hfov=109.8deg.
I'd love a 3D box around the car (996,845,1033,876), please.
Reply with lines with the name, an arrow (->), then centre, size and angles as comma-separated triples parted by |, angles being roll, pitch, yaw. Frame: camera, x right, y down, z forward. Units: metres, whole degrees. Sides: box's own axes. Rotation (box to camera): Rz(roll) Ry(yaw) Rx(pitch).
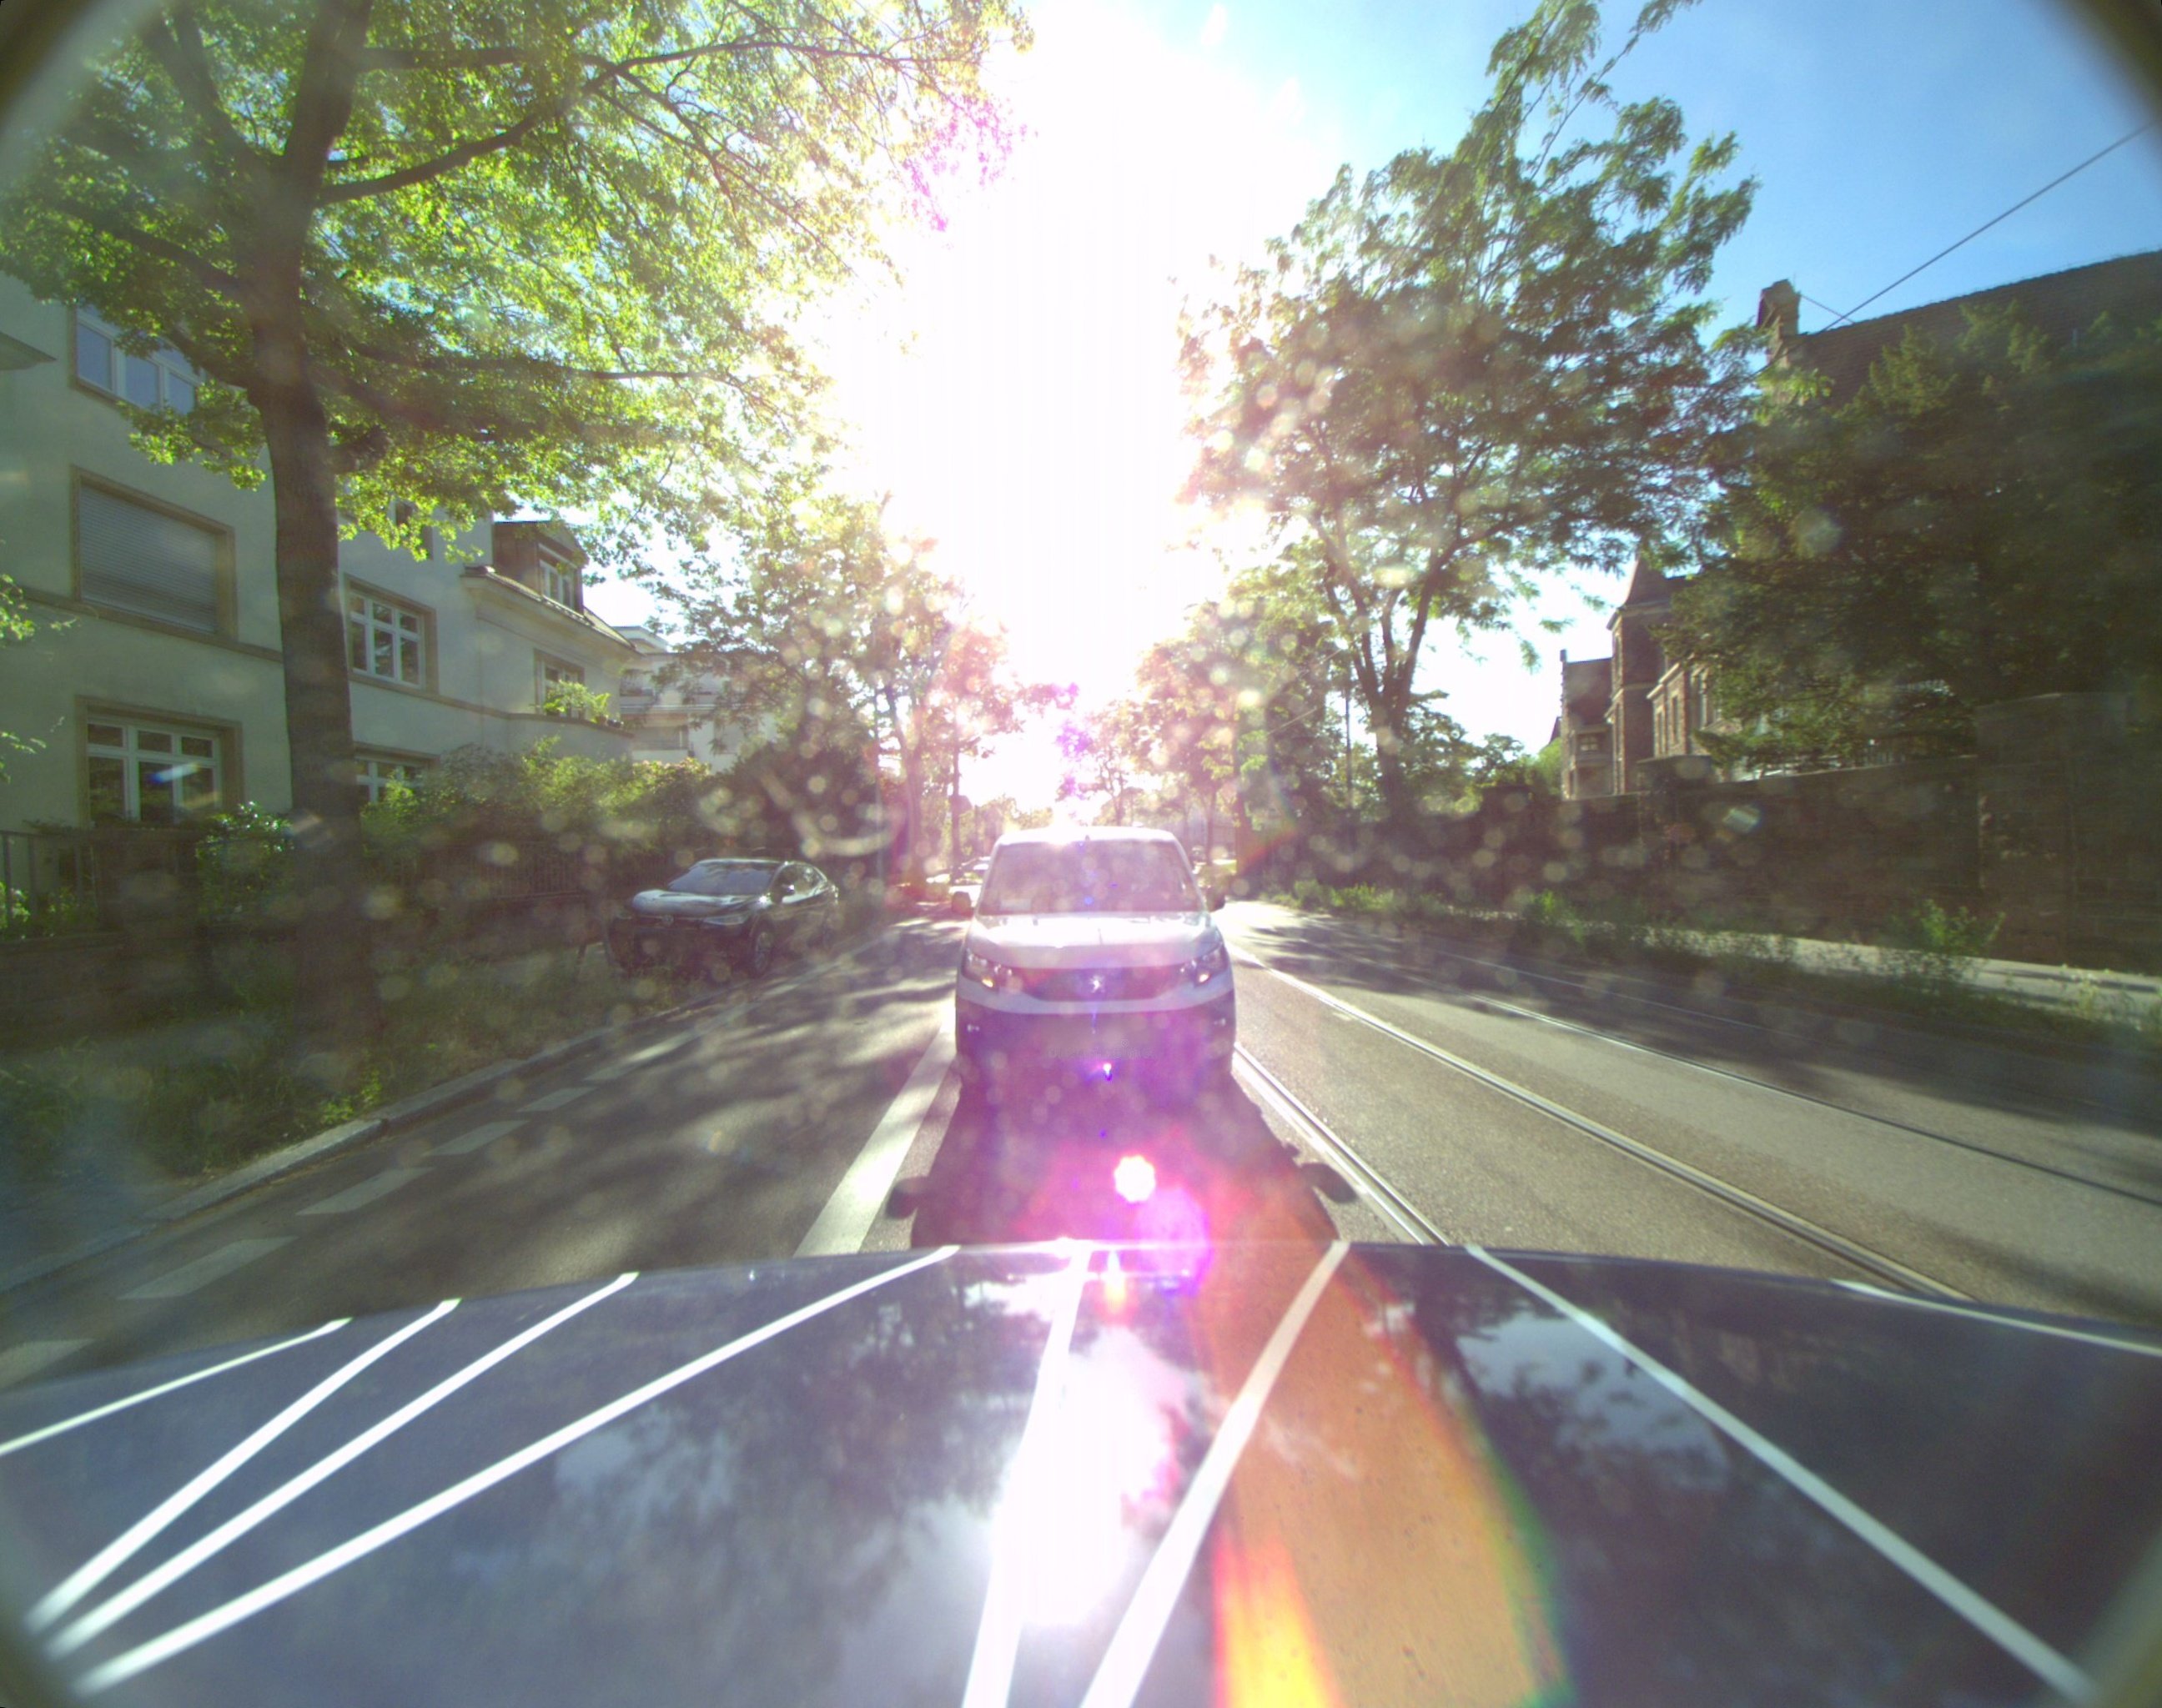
car -> -4.491, 0.433, 51.925 | 1.998, 2.002, 4.583 | -2, 0, 1

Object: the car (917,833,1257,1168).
car -> 0.050, 0.789, 6.501 | 1.793, 1.770, 4.786 | -2, 0, 0

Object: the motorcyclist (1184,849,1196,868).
motorcyclist -> 8.402, 0.344, 58.542 | 0.891, 1.375, 0.909 | -1, 1, 8

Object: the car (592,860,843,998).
car -> -5.132, 0.949, 11.426 | 1.743, 1.597, 4.091 | 2, 0, 0

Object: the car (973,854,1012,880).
car -> -5.244, 0.755, 45.460 | 1.787, 1.443, 4.000 | -2, 0, 1

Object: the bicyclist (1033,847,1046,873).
bicyclist -> -2.478, 0.336, 45.244 | 0.645, 1.479, 1.115 | -2, 1, 1

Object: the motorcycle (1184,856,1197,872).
motorcycle -> 8.409, 0.735, 58.534 | 0.913, 1.146, 2.430 | -1, 0, 8

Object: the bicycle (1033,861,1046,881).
bicycle -> -2.454, 1.015, 45.237 | 0.644, 1.137, 1.902 | -1, 0, 1
